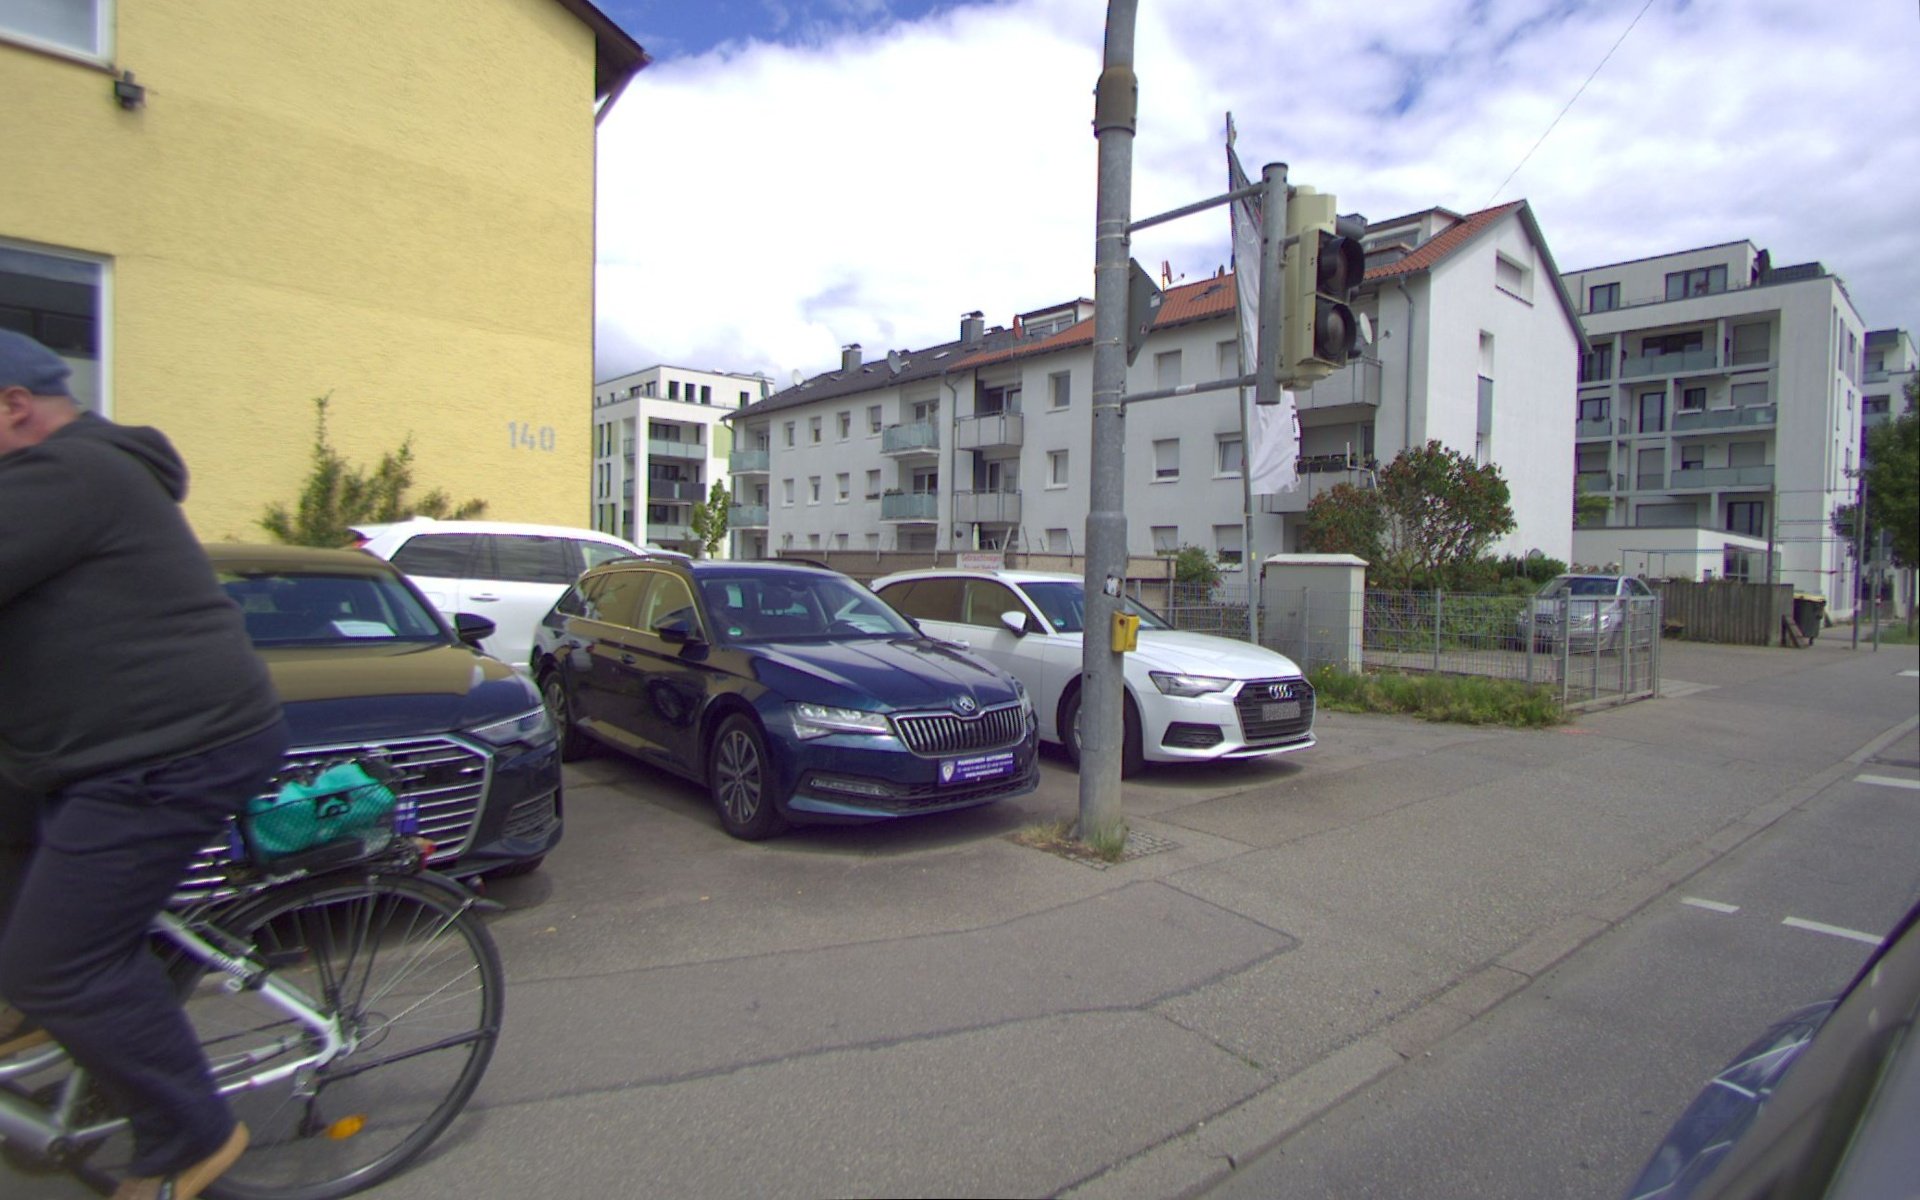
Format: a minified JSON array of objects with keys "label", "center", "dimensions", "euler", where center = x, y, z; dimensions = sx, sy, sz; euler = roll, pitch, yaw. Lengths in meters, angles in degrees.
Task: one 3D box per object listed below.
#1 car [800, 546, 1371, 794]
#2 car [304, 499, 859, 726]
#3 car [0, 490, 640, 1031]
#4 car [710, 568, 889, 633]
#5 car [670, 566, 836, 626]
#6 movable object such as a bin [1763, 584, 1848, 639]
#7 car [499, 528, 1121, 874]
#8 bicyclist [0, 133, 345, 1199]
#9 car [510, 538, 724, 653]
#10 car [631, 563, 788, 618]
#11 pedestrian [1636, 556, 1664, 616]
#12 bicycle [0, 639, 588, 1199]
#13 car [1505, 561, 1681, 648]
[{"label":"car","center":[0.757,0.388,8.629],"dimensions":[2.010,1.512,4.704],"euler":[0,1,-41]},{"label":"car","center":[-3.691,0.023,10.316],"dimensions":[4.931,1.843,1.985],"euler":[-1,3,-31]},{"label":"car","center":[-3.402,0.411,4.831],"dimensions":[1.954,1.421,4.374],"euler":[0,0,-42]},{"label":"car","center":[-3.684,-0.027,23.599],"dimensions":[3.855,1.401,1.647],"euler":[-1,2,-41]},{"label":"car","center":[-5.222,-0.131,25.825],"dimensions":[3.855,1.401,1.647],"euler":[-1,2,-41]},{"label":"movable object such as a bin","center":[22.607,0.289,27.075],"dimensions":[1.225,1.378,1.326],"euler":[-1,2,-25]},{"label":"car","center":[-1.360,0.385,6.851],"dimensions":[1.999,1.512,4.668],"euler":[0,1,-41]},{"label":"bicyclist","center":[-1.649,0.136,1.762],"dimensions":[0.874,1.695,0.639],"euler":[0,5,-41]},{"label":"car","center":[-5.610,-0.078,16.260],"dimensions":[1.826,1.601,4.133],"euler":[0,0,-41]},{"label":"car","center":[-6.797,-0.276,27.665],"dimensions":[3.855,1.401,1.647],"euler":[-1,2,-41]},{"label":"pedestrian","center":[20.585,-0.424,30.190],"dimensions":[0.490,1.787,0.509],"euler":[-1,0,-24]},{"label":"bicycle","center":[-1.744,0.671,1.747],"dimensions":[1.943,1.075,0.639],"euler":[0,5,-41]},{"label":"car","center":[12.915,0.050,20.541],"dimensions":[4.444,1.564,1.878],"euler":[0,2,-42]}]
